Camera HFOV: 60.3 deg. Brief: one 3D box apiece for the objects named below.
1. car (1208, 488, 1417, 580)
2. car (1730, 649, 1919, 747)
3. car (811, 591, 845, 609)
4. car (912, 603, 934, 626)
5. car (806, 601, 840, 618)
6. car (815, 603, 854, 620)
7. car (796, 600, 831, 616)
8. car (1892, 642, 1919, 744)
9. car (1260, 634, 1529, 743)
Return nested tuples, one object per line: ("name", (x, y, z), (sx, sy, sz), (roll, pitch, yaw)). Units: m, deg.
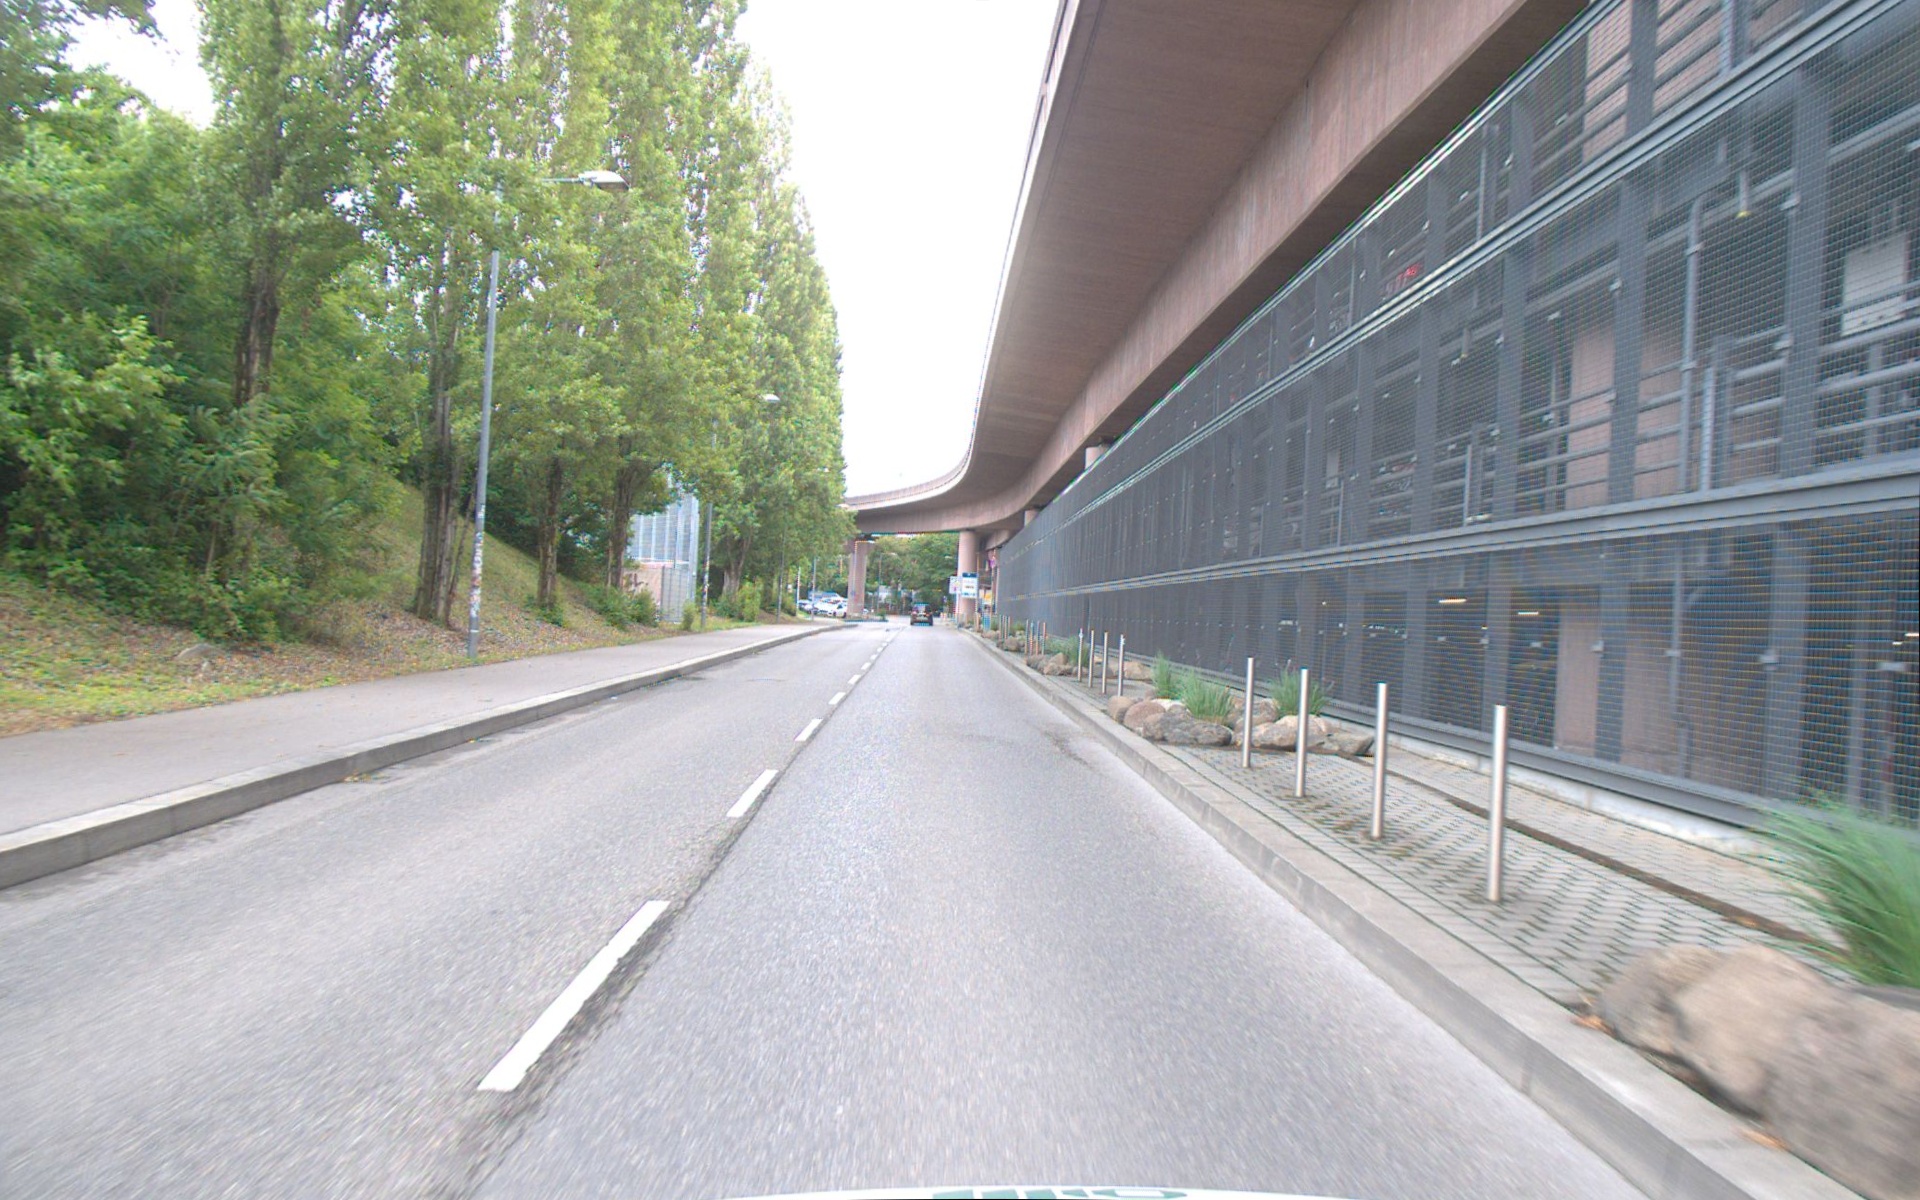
("car", (7.258, -1.347, 34.302), (3.905, 1.686, 1.832), (2, 1, 1))
("car", (17.407, 1.912, 32.216), (3.907, 1.643, 1.834), (3, 0, -1))
("car", (-16.913, -0.013, 211.577), (4.130, 2.049, 1.999), (3, 0, -3))
("car", (-3.060, 1.173, 137.662), (1.802, 1.741, 3.705), (2, 1, -1))
("car", (-15.053, 1.010, 181.725), (1.694, 1.746, 3.653), (3, 1, 40))
("car", (-13.443, 1.221, 177.519), (1.851, 1.746, 4.131), (3, 1, 40))
("car", (-16.402, 0.892, 185.272), (1.694, 1.746, 3.653), (3, 1, 40))
("car", (17.685, 1.645, 27.011), (3.907, 1.643, 1.722), (3, 0, -2))
("car", (7.118, 1.435, 27.371), (3.907, 1.492, 1.810), (3, 0, -2))
